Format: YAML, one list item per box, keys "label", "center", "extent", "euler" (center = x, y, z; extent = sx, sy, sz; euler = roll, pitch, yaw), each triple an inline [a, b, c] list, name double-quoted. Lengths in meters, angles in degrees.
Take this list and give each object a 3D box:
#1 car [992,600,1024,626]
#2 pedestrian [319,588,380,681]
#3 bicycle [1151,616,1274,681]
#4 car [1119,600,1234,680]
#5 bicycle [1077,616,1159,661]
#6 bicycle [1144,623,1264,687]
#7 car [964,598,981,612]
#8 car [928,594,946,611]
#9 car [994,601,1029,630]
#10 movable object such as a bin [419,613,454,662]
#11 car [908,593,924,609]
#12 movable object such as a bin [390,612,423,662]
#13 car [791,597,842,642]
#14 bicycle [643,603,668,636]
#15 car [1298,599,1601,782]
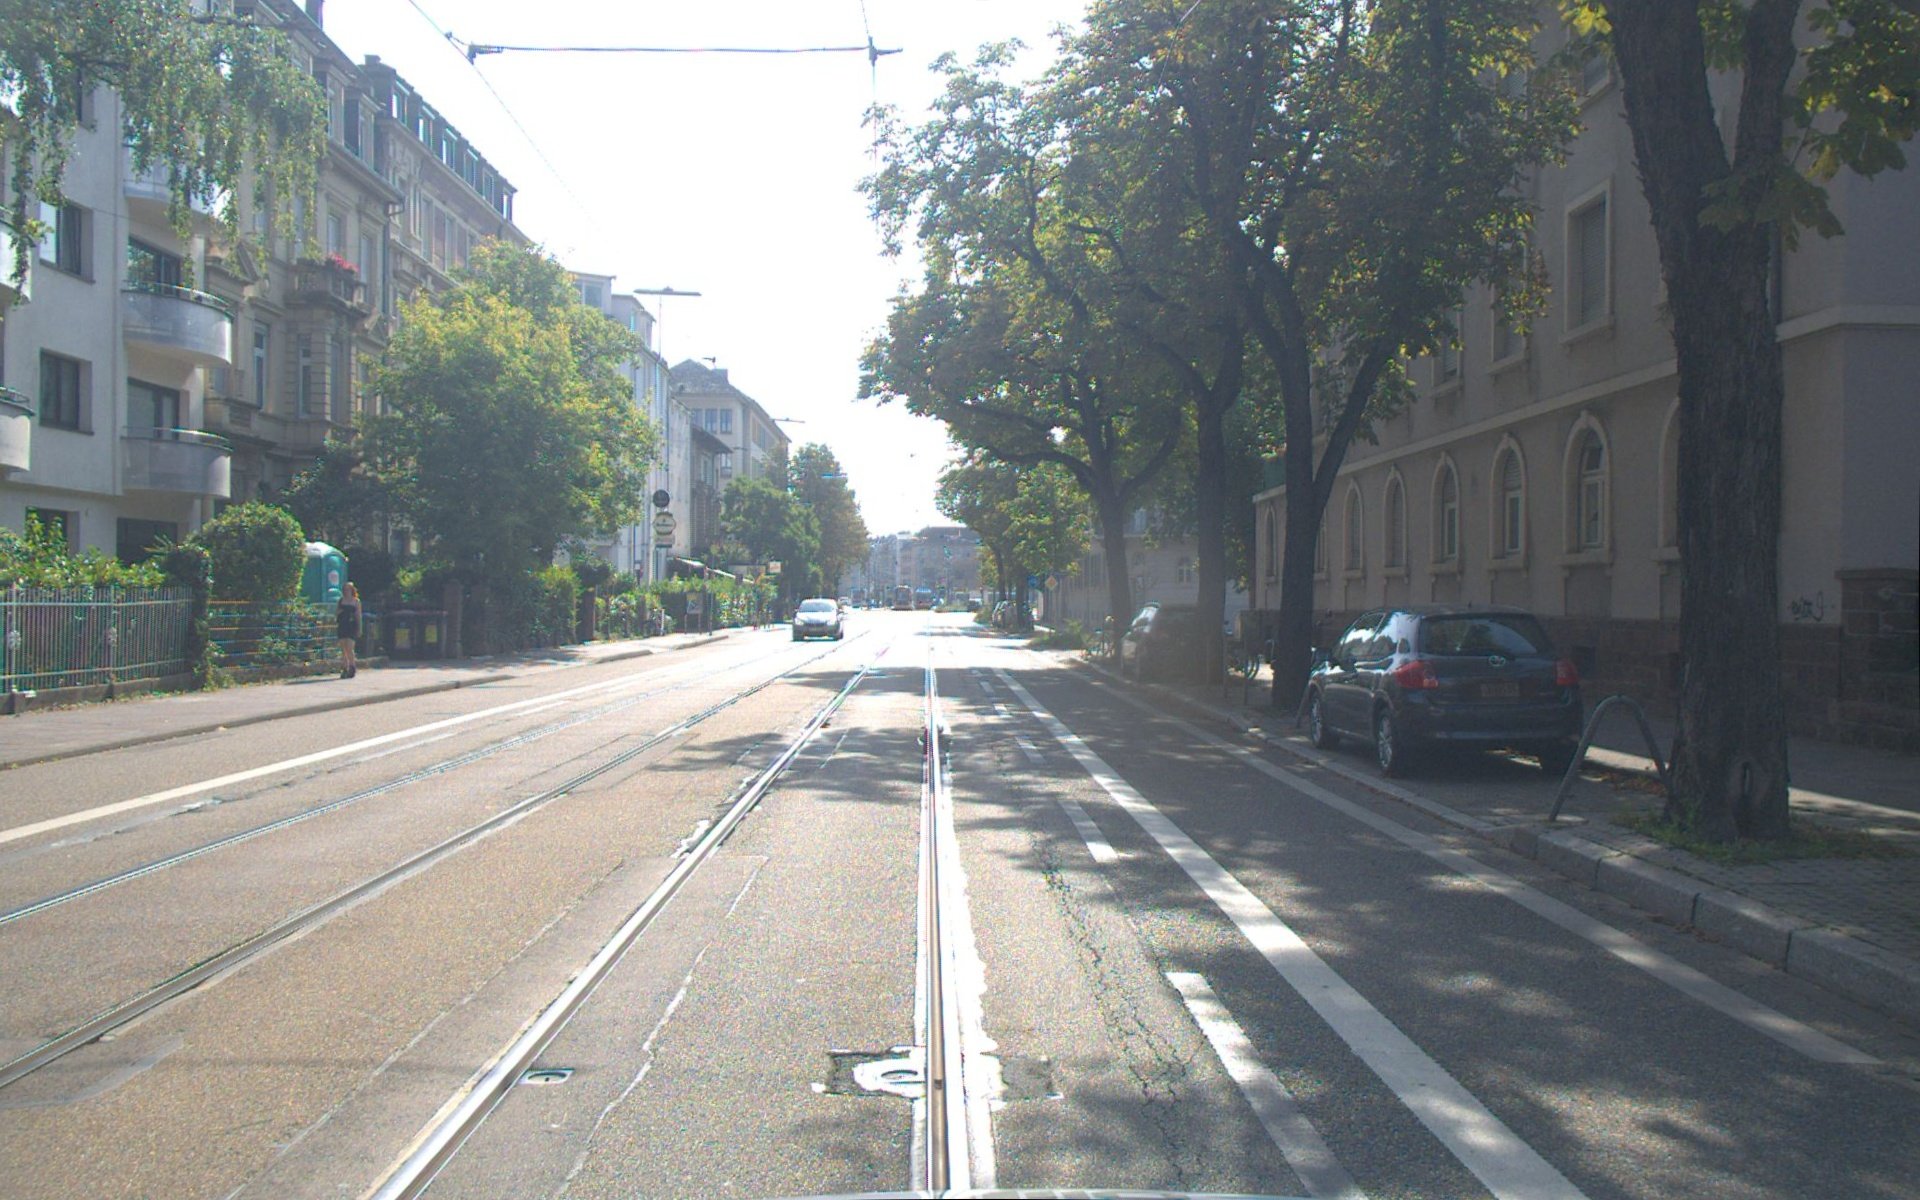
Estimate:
- label: "car"
  center: [2.831, 0.768, 97.897]
  extent: [1.736, 1.499, 3.973]
  euler: [0, -1, -1]
- label: "pedestrian"
  center: [-10.803, 0.597, 29.293]
  extent: [0.737, 1.619, 0.878]
  euler: [0, 0, -1]
- label: "bicycle"
  center: [4.424, 0.844, 29.042]
  extent: [2.067, 1.125, 0.562]
  euler: [0, 0, -9]
- label: "car"
  center: [4.278, 0.780, 33.220]
  extent: [1.736, 1.499, 3.973]
  euler: [0, -1, -1]
- label: "bicycle"
  center: [4.165, 1.006, 43.695]
  extent: [2.064, 1.125, 0.615]
  euler: [-1, 0, -3]
- label: "bicycle"
  center: [4.357, 0.979, 29.564]
  extent: [2.067, 1.125, 0.562]
  euler: [0, 0, -9]
- label: "car"
  center: [1.632, 0.661, 216.531]
  extent: [1.952, 1.814, 4.002]
  euler: [2, 0, 3]
- label: "car"
  center: [-2.904, 0.366, 208.910]
  extent: [1.952, 2.049, 4.001]
  euler: [2, 0, 2]
- label: "car"
  center: [2.808, 0.857, 90.535]
  extent: [1.736, 1.499, 3.973]
  euler: [0, -1, -1]
- label: "movable object such as a bin"
  center: [-11.774, 0.845, 37.224]
  extent: [0.619, 1.097, 0.703]
  euler: [0, 0, -8]
- label: "car"
  center: [-6.039, 0.120, 227.433]
  extent: [1.952, 2.049, 4.001]
  euler: [2, 0, 1]
- label: "movable object such as a bin"
  center: [-12.428, 0.822, 37.135]
  extent: [0.578, 1.097, 0.703]
  euler: [0, 0, -8]
- label: "car"
  center: [-5.497, 0.741, 63.705]
  extent: [1.692, 1.666, 3.983]
  euler: [0, 0, -1]
- label: "bicycle"
  center: [-11.746, 0.731, 63.892]
  extent: [0.549, 1.242, 2.114]
  euler: [0, 0, 1]
- label: "car"
  center: [4.615, 0.786, 16.201]
  extent: [1.692, 1.531, 3.983]
  euler: [-1, 0, -1]
